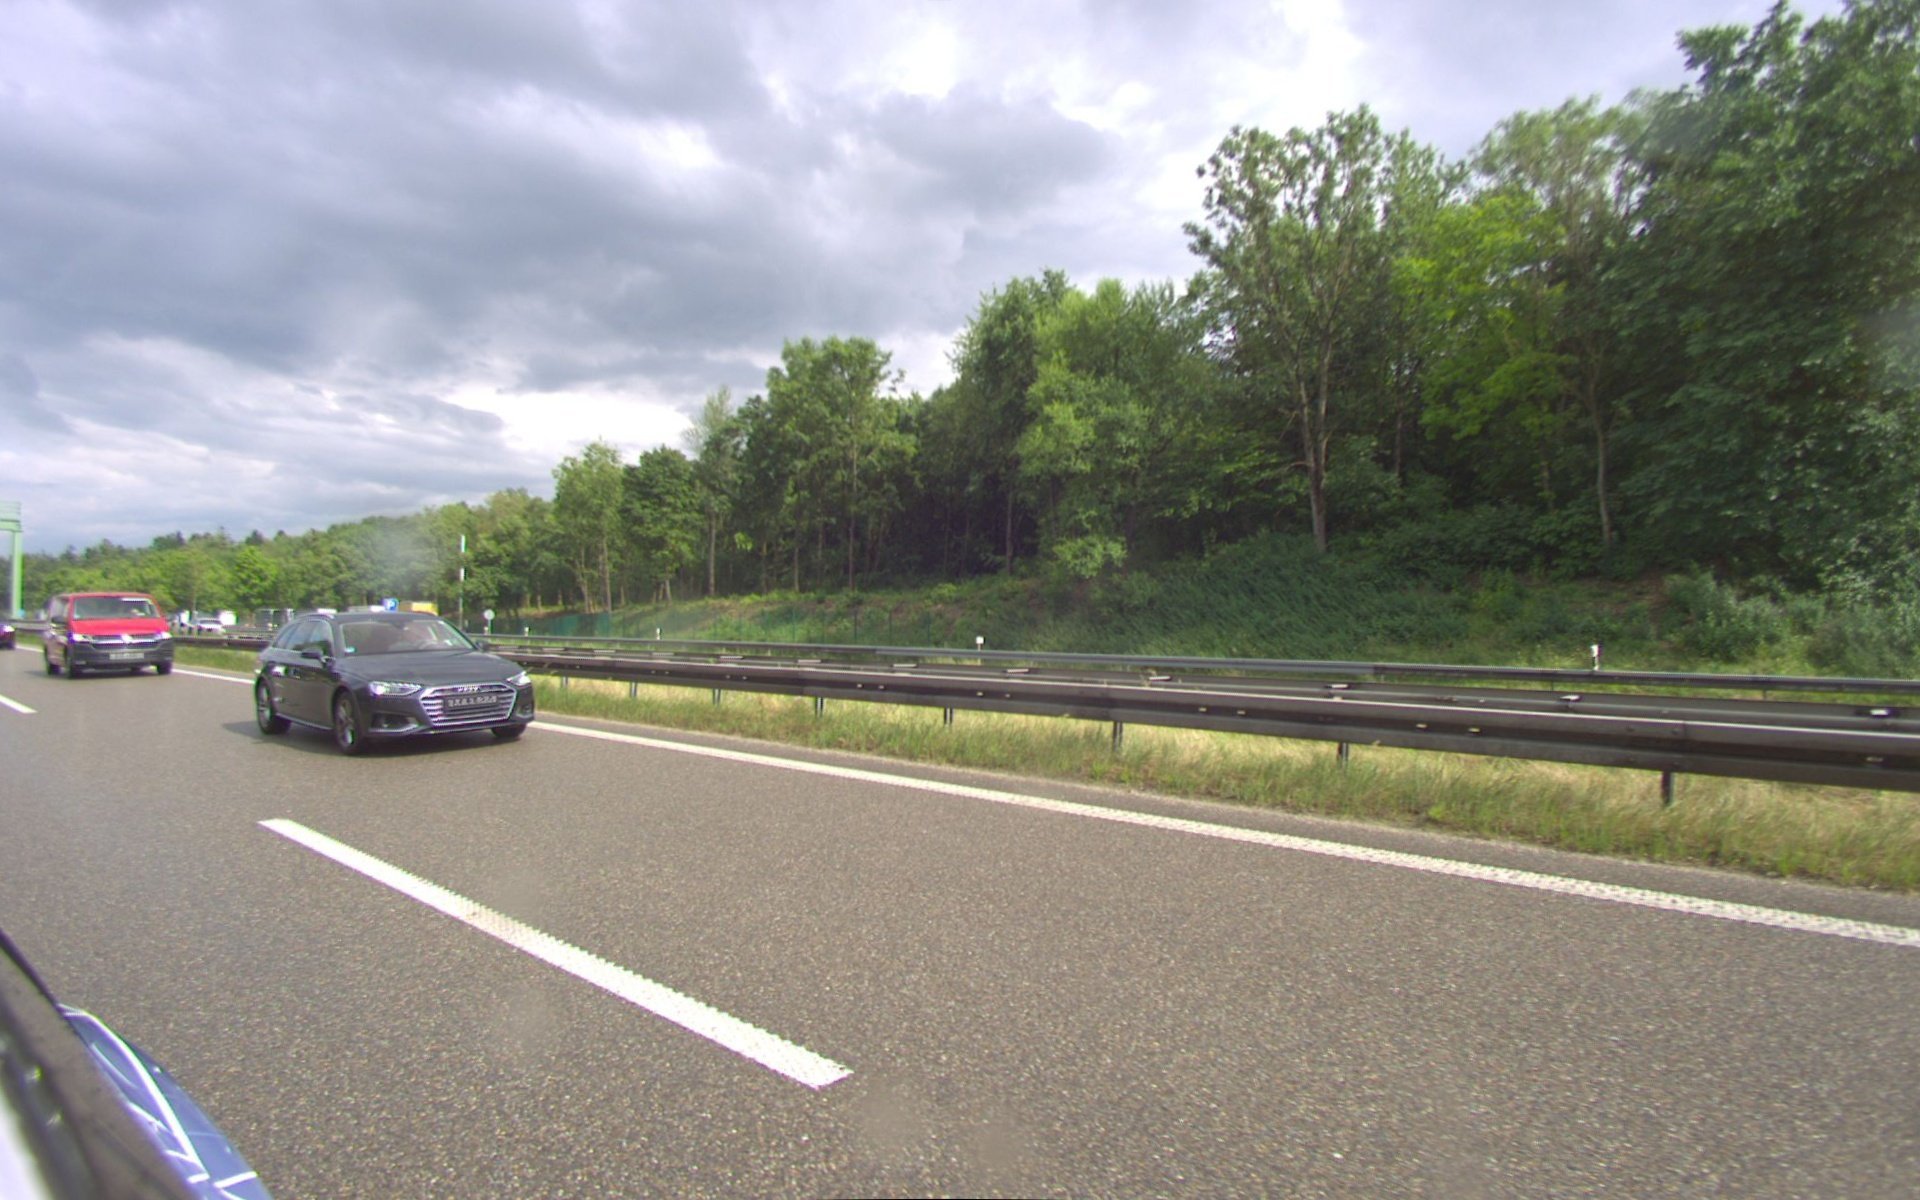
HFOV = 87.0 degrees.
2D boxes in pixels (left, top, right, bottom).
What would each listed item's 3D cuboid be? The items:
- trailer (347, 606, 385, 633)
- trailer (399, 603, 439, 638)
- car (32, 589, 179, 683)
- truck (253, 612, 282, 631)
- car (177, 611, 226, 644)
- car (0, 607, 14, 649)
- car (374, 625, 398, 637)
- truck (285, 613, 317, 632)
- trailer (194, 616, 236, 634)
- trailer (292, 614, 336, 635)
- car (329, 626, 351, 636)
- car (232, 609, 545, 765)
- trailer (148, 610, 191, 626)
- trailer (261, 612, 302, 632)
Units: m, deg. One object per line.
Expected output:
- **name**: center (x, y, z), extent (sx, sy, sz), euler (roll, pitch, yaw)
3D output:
- **trailer**: center (-81.036, 2.666, 137.934), extent (2.156, 3.627, 11.734), euler (2, -2, -42)
- **trailer**: center (-61.815, 2.273, 115.439), extent (1.967, 3.722, 13.688), euler (-1, 0, -37)
- **car**: center (-20.163, 0.817, 23.813), extent (4.747, 2.000, 1.871), euler (-1, -2, 41)
- **truck**: center (-123.138, 3.826, 180.001), extent (6.532, 3.275, 2.549), euler (-1, -2, 41)
- **car**: center (-49.456, 1.759, 65.934), extent (1.970, 2.029, 4.810), euler (-1, 0, -44)
- **car**: center (-40.126, 1.140, 41.217), extent (4.292, 1.682, 1.871), euler (-1, -1, 40)
- **car**: center (-73.540, 3.937, 129.594), extent (1.871, 1.514, 4.005), euler (2, -2, -41)
- **truck**: center (-108.994, 3.725, 167.342), extent (5.596, 3.208, 3.009), euler (-1, -2, 43)
- **trailer**: center (-144.872, 4.808, 196.720), extent (12.631, 3.296, 3.153), euler (-1, -2, 38)
- **trailer**: center (-103.752, 3.956, 162.436), extent (12.173, 3.217, 2.987), euler (-1, -2, 43)
- **car**: center (-92.766, 4.647, 151.348), extent (4.002, 1.514, 1.873), euler (-1, -2, 45)
- **car**: center (-6.632, 0.839, 11.517), extent (4.465, 1.422, 1.701), euler (-1, 0, 41)
- **trailer**: center (-165.131, 3.765, 211.243), extent (13.374, 3.296, 3.050), euler (-1, -2, 34)
- **trailer**: center (-117.391, 3.766, 175.039), extent (12.640, 3.296, 2.577), euler (-1, -2, 41)
